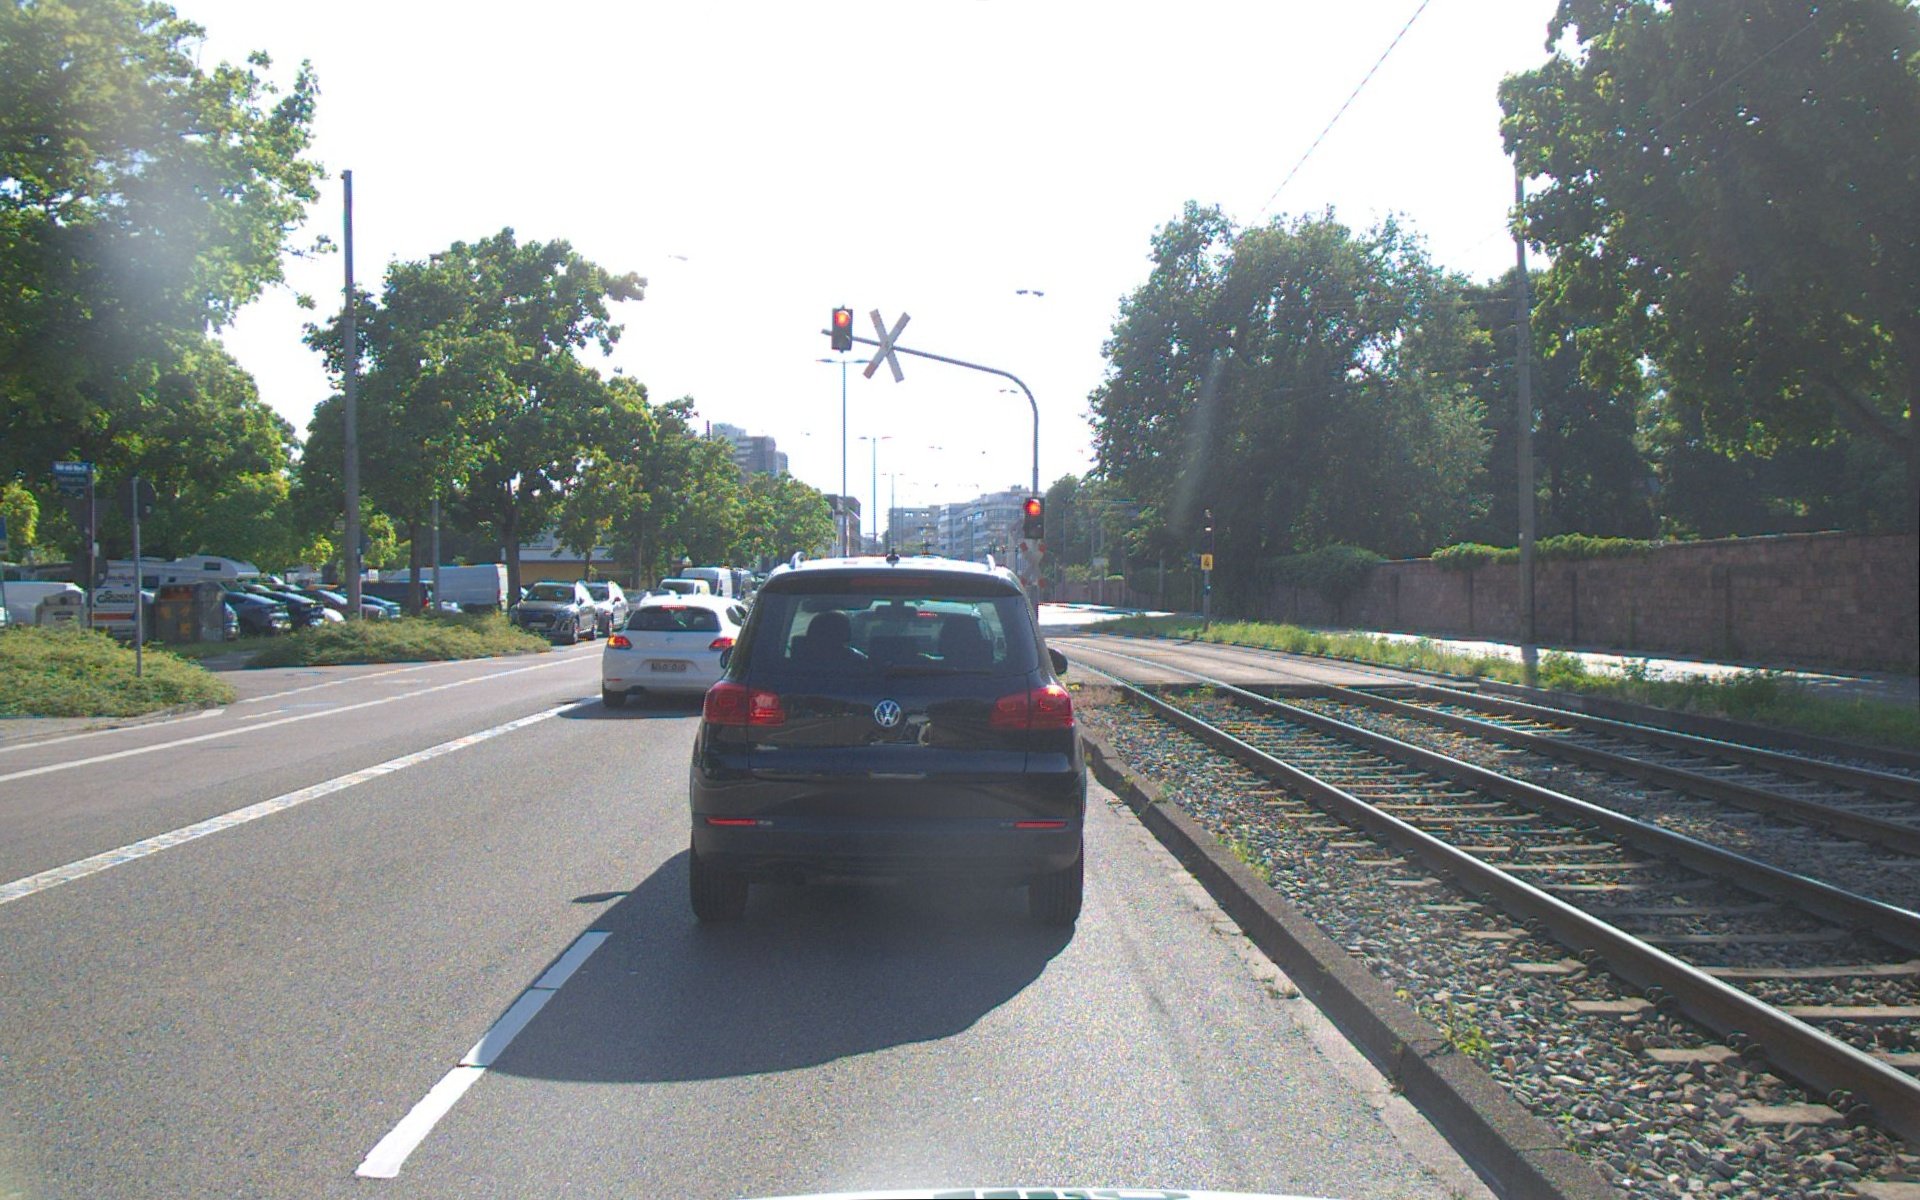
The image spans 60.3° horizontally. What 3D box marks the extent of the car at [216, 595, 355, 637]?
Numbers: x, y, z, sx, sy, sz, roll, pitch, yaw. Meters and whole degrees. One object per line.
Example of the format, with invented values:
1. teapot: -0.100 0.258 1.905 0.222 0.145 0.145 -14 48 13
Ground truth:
1. car: -22.334 0.507 54.877 3.908 1.330 1.736 -1 0 -4

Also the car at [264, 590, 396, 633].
1. car: -21.716 0.396 57.116 3.908 1.422 1.736 -1 0 -4

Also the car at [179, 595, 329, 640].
1. car: -21.983 0.533 51.595 3.908 1.330 1.736 -1 0 -4

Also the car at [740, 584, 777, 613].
1. car: -12.411 -0.086 102.056 1.696 1.724 4.000 0 1 0

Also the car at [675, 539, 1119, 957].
1. car: -0.279 0.597 8.684 1.774 1.673 3.999 1 0 -1

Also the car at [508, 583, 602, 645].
1. car: -11.661 0.367 47.853 1.696 1.686 4.000 0 0 0

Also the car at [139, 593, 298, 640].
1. car: -21.931 0.474 49.007 3.908 1.330 1.736 -1 0 -4

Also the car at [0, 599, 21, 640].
1. car: -35.098 0.689 57.620 3.903 1.384 1.628 0 0 4

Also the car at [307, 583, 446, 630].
1. car: -21.998 0.231 62.454 4.526 1.680 2.048 -1 0 -3

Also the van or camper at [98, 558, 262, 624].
1. van or camper: -35.248 -0.396 74.887 6.332 2.918 2.307 0 0 -1

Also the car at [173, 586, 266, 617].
1. car: -34.905 0.055 78.063 3.591 1.422 1.736 -1 0 -4

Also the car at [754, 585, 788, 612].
1. car: -12.264 -0.122 107.379 1.696 1.724 4.000 0 1 0

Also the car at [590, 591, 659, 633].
1. car: -12.008 0.404 59.435 1.696 1.413 3.735 0 1 0

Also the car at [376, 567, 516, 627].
1. car: -21.854 -0.122 70.448 5.266 2.466 2.087 -1 0 -1

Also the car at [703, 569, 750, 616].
1. car: -11.879 -0.404 84.354 1.696 2.308 4.645 0 0 0

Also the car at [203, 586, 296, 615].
1. car: -35.717 0.032 83.219 3.908 1.422 1.736 -1 0 -4

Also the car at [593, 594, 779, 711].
1. car: -3.489 0.618 21.750 1.827 1.371 3.999 0 0 -1

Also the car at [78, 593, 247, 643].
1. car: -22.411 0.482 46.586 3.908 1.330 1.736 -1 0 -4

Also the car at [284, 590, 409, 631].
1. car: -22.237 0.375 60.061 3.908 1.422 1.736 -1 0 -4

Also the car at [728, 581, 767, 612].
1. car: -12.297 -0.207 95.994 1.696 1.724 4.000 0 1 0

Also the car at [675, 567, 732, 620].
1. car: -11.966 -0.311 77.524 1.825 2.388 4.985 0 0 0

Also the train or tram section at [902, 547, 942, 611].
1. train or tram section: -2.264 -1.263 99.342 2.279 3.632 8.898 0 0 -1

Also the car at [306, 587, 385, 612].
1. car: -35.336 -0.044 95.144 3.908 1.422 1.736 -1 0 -4

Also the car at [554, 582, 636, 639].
1. car: -11.724 0.306 53.339 1.696 1.724 4.000 0 1 0

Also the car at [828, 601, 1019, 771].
1. car: -0.342 0.738 16.227 1.635 1.411 3.999 0 1 -1

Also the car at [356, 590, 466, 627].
1. car: -22.202 0.322 66.981 3.908 1.422 1.736 -1 0 -4

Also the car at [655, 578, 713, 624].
1. car: -11.785 0.015 70.853 1.696 1.892 4.489 0 0 0

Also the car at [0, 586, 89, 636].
1. car: -33.944 0.402 59.909 3.912 1.758 1.624 -1 0 -8
